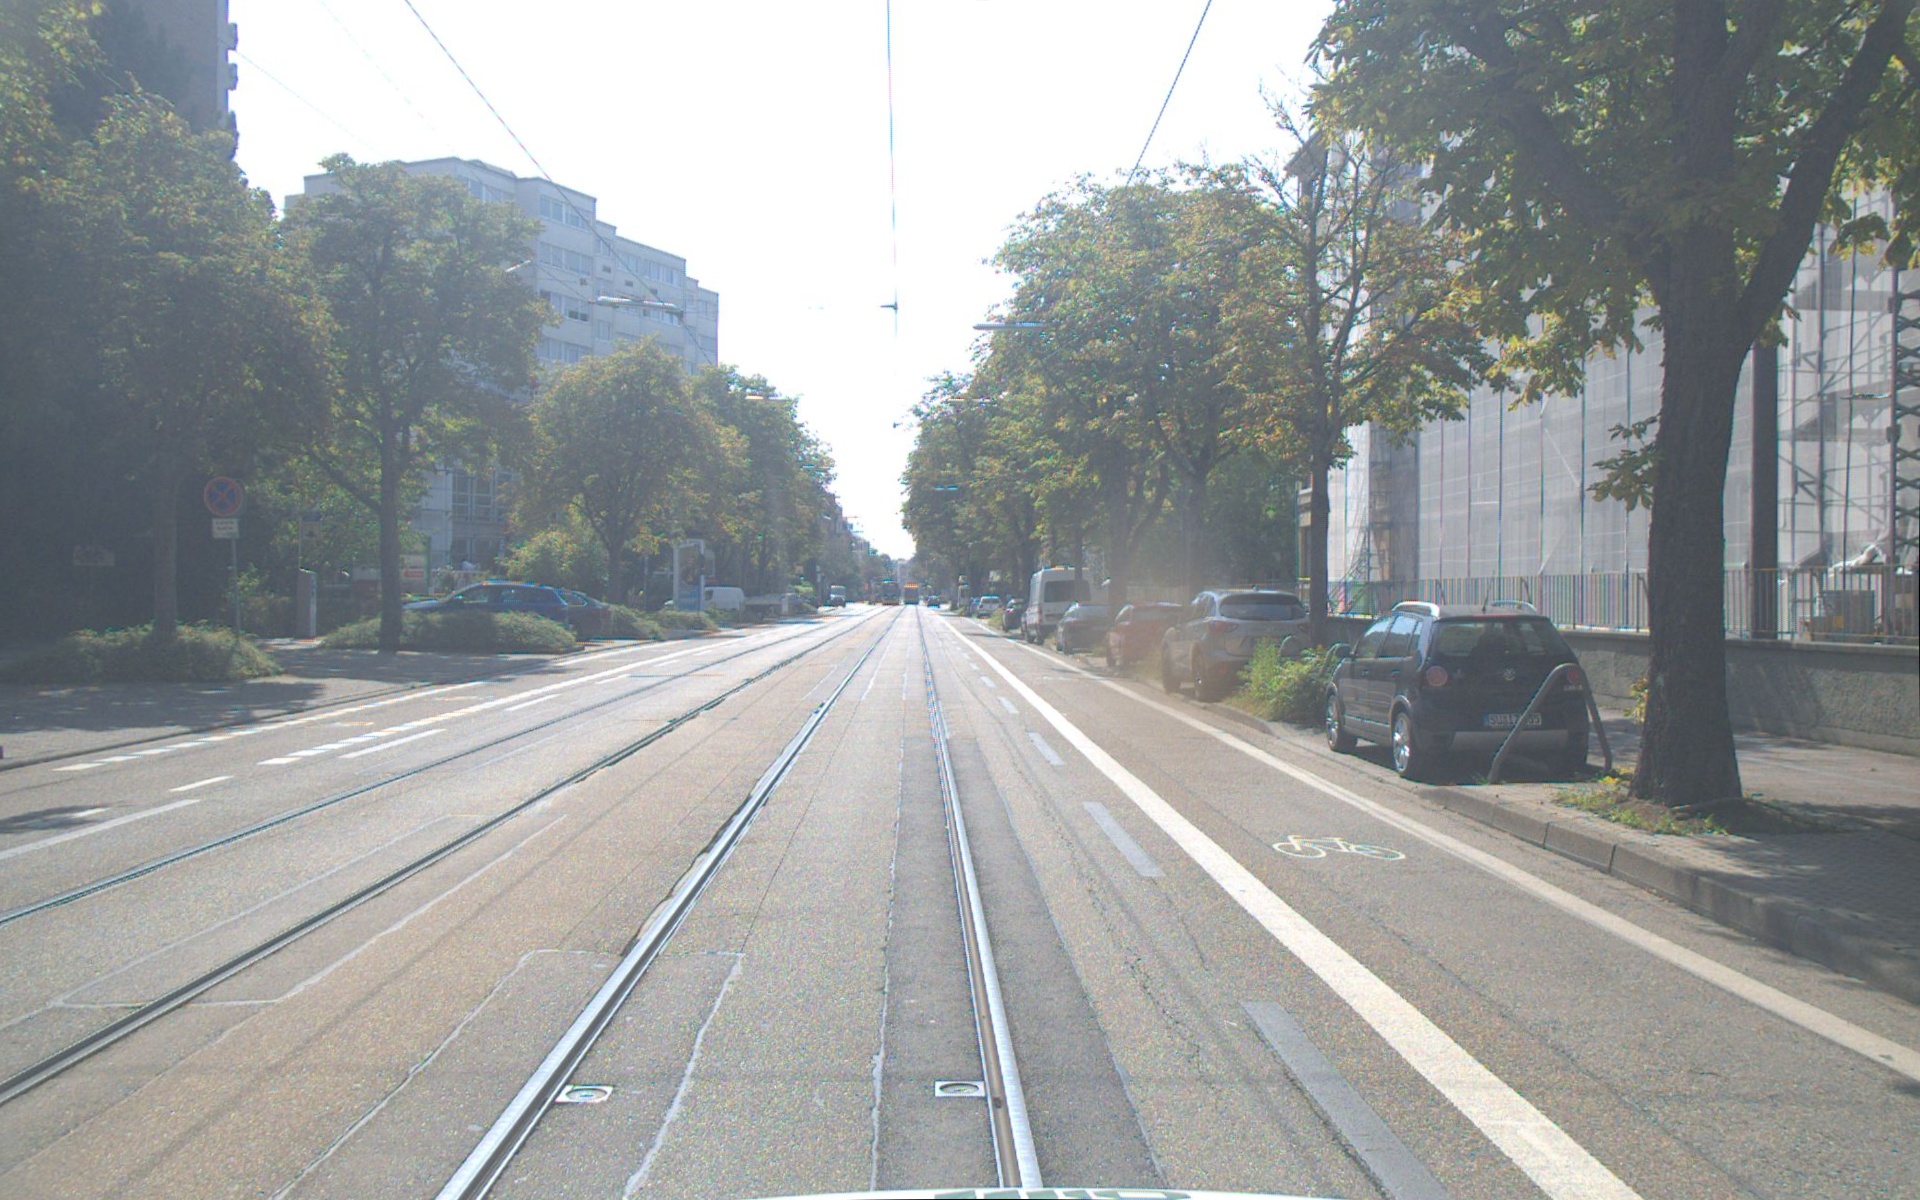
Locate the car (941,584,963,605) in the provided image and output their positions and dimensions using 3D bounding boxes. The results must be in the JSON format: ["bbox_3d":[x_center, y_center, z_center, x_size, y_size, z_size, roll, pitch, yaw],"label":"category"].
[{"bbox_3d":[-0.840,-0.605,178.222,1.955,2.272,3.995,0,0,-6],"label":"car"}]

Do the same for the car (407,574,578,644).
[{"bbox_3d":[-11.790,0.229,41.724,3.936,1.677,1.827,1,0,-25],"label":"car"}]

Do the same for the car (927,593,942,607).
[{"bbox_3d":[-3.335,-0.039,218.191,1.953,1.832,3.999,1,0,-1],"label":"car"}]

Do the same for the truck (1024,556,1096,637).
[{"bbox_3d":[3.390,-0.114,57.239,1.878,2.644,5.589,1,0,-3],"label":"truck"}]

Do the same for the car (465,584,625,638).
[{"bbox_3d":[-12.061,0.322,48.122,4.233,1.523,1.764,1,0,-28],"label":"car"}]

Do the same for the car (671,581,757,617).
[{"bbox_3d":[-12.874,-0.050,86.563,1.795,1.803,4.254,0,0,45],"label":"car"}]

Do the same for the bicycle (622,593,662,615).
[{"bbox_3d":[-19.188,0.241,99.688,2.289,1.189,0.622,2,0,16],"label":"bicycle"}]

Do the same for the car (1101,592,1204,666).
[{"bbox_3d":[4.215,0.610,36.717,1.651,1.526,4.130,1,0,-2],"label":"car"}]

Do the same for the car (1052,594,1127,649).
[{"bbox_3d":[3.636,0.577,47.022,1.651,1.465,4.802,1,0,-1],"label":"car"}]

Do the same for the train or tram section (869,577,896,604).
[{"bbox_3d":[-11.416,-1.388,243.809,3.426,3.769,12.410,1,0,-1],"label":"train or tram section"}]

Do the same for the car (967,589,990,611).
[{"bbox_3d":[1.377,0.017,123.459,1.607,1.538,3.640,1,0,-1],"label":"car"}]

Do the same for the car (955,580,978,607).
[{"bbox_3d":[0.583,-0.594,151.408,1.953,2.407,3.999,1,0,-1],"label":"car"}]

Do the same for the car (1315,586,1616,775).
[{"bbox_3d":[4.759,0.677,16.161,1.651,1.597,3.999,1,0,-1],"label":"car"}]

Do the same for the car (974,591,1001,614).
[{"bbox_3d":[1.825,0.183,109.903,1.754,1.471,3.733,-1,0,1],"label":"car"}]

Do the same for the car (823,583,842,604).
[{"bbox_3d":[-15.452,-0.783,200.634,2.198,2.484,3.996,1,0,-5],"label":"car"}]

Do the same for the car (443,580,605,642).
[{"bbox_3d":[-11.764,0.299,44.687,3.942,1.597,1.764,1,0,-29],"label":"car"}]

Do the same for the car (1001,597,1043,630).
[{"bbox_3d":[2.826,0.602,76.542,1.640,1.483,4.662,0,0,-2],"label":"car"}]

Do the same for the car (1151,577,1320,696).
[{"bbox_3d":[4.280,0.516,26.382,1.726,1.718,4.646,1,0,-3],"label":"car"}]

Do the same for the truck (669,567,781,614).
[{"bbox_3d":[-12.802,-0.500,90.322,5.915,2.477,2.119,0,0,-41],"label":"truck"}]
